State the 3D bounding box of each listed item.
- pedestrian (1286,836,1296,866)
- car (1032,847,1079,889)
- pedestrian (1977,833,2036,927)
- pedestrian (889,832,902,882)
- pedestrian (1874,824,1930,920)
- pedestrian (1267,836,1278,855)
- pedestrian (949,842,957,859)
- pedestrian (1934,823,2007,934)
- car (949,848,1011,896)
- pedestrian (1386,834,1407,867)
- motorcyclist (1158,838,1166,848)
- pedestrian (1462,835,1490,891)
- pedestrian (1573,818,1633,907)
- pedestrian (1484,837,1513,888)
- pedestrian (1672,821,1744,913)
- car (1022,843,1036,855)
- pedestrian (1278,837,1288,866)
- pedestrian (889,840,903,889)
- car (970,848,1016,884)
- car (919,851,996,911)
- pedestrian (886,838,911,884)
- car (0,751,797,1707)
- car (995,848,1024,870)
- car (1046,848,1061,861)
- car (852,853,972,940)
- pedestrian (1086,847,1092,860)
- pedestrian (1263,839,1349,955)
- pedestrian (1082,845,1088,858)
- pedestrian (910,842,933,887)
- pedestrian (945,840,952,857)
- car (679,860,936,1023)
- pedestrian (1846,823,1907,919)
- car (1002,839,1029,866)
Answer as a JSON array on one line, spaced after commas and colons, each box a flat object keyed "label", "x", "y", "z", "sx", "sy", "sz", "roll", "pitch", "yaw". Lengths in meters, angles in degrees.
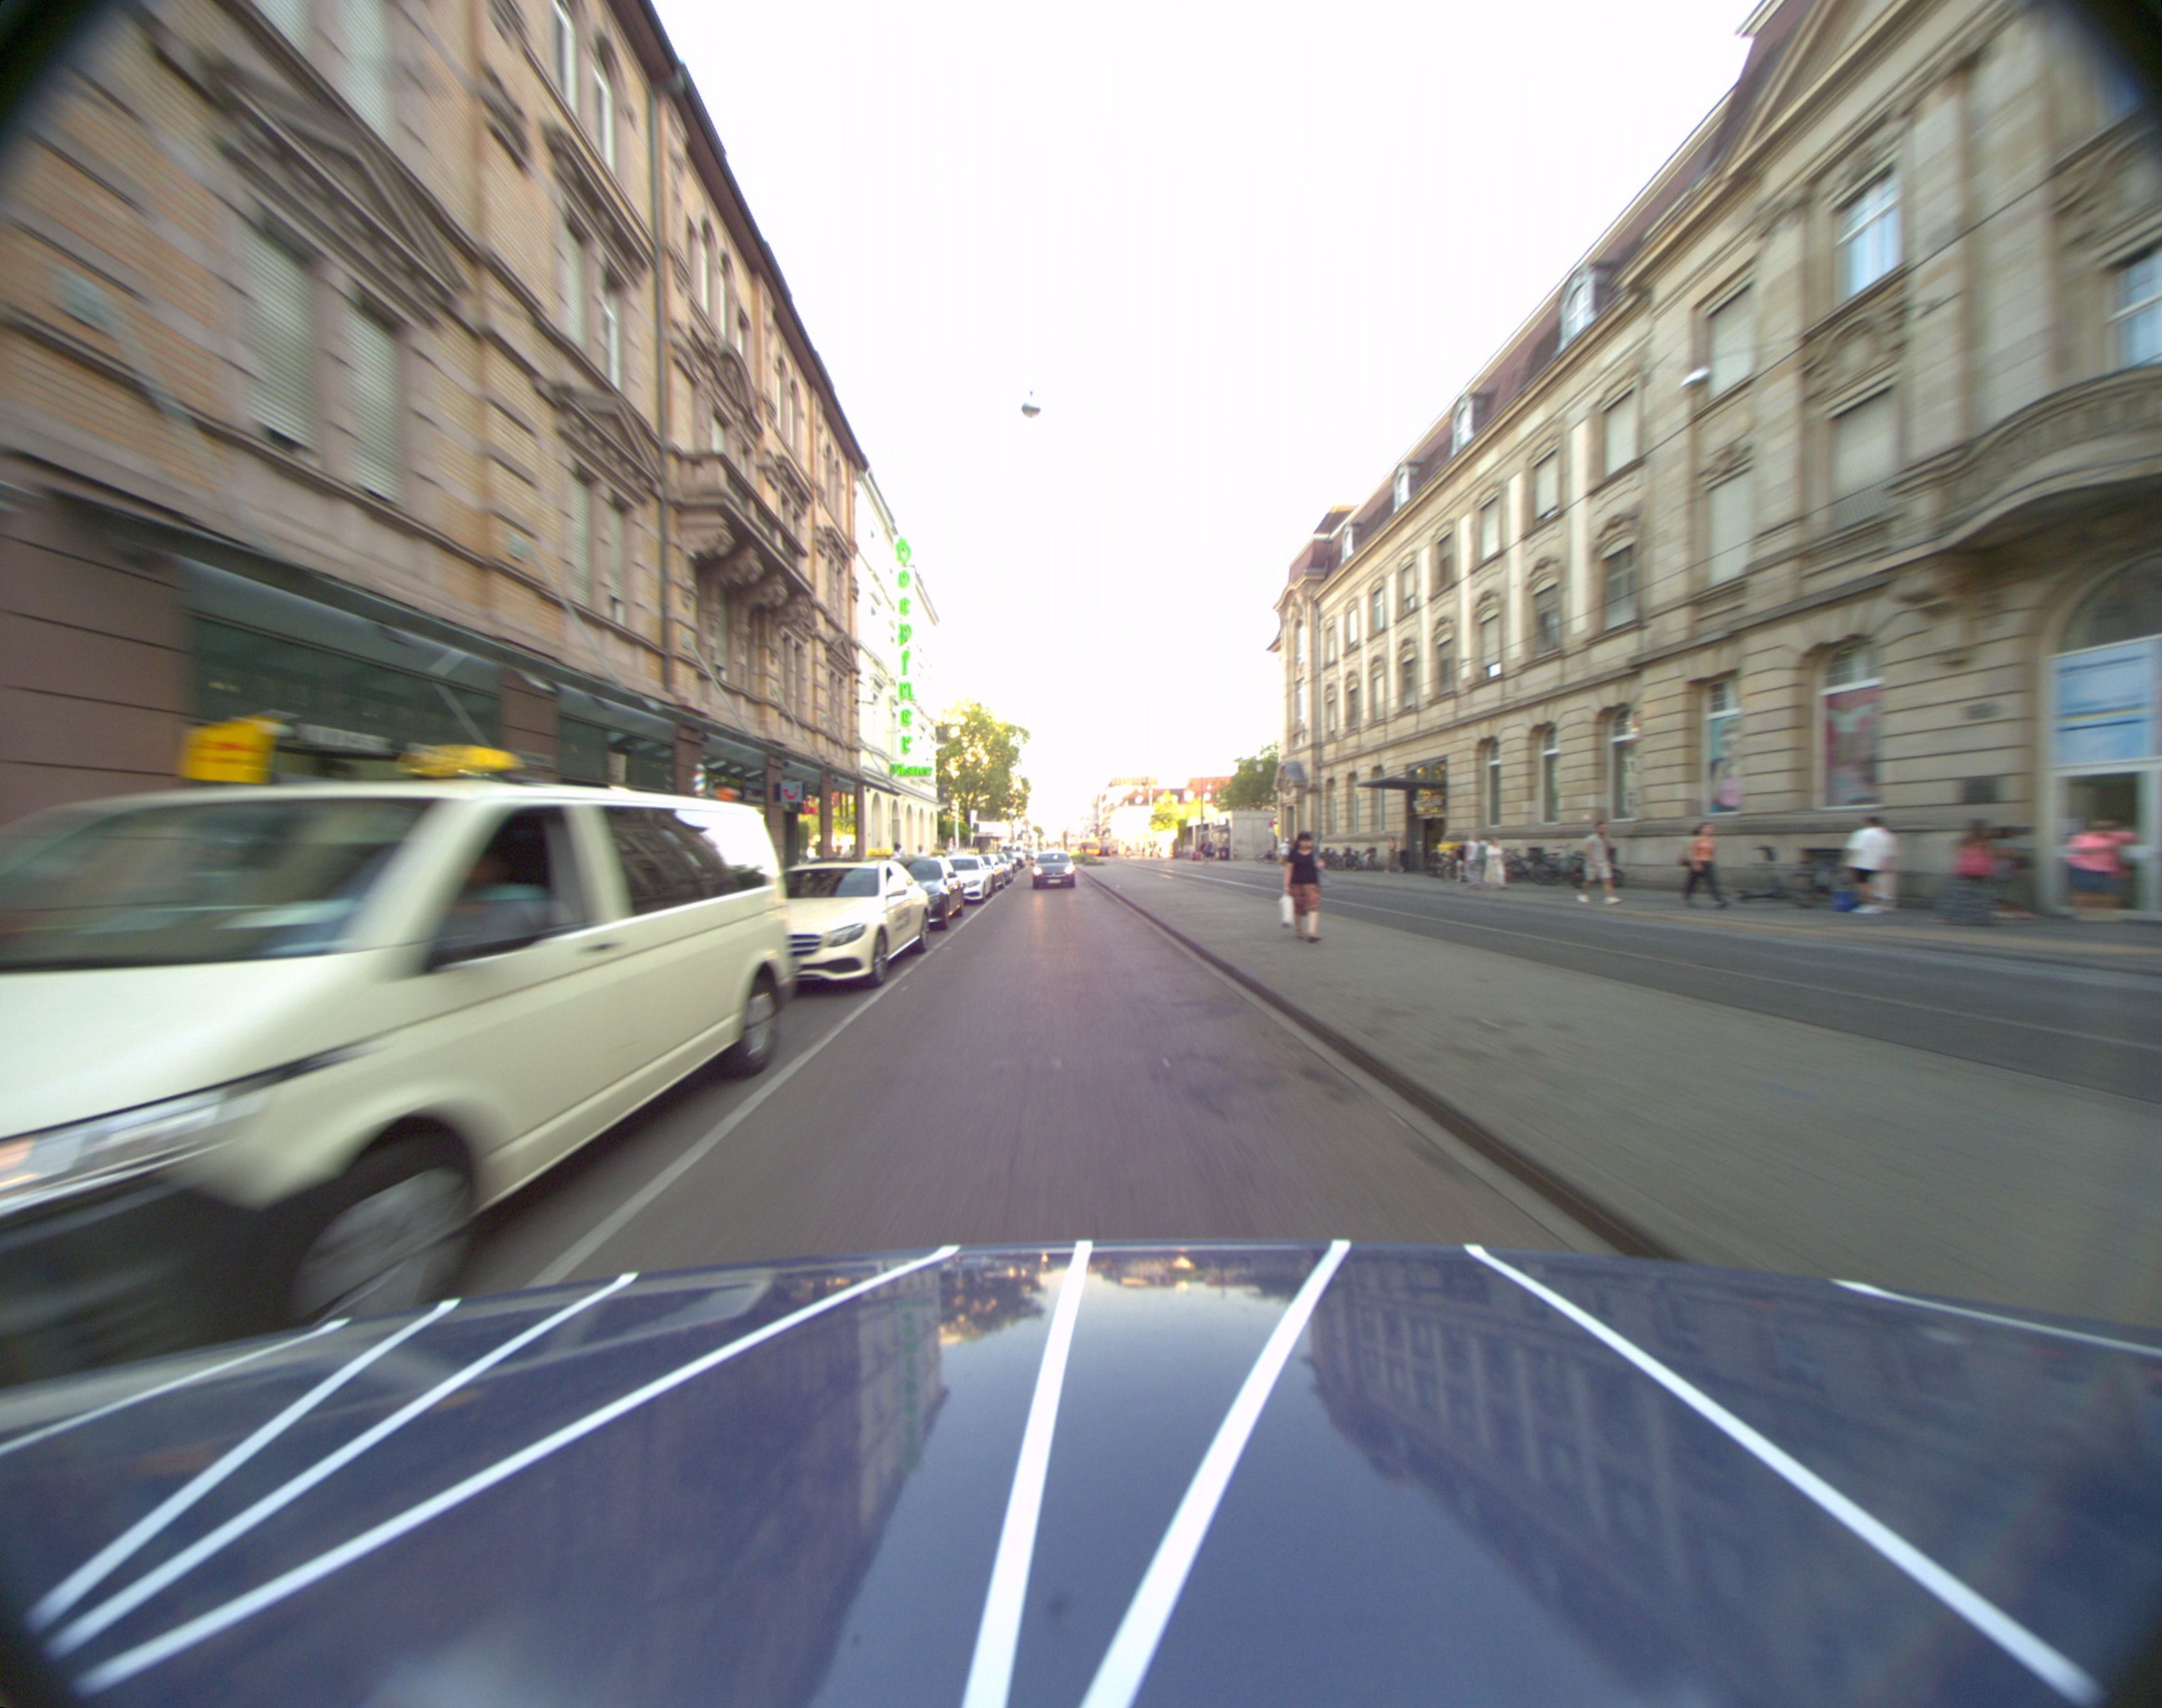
[{"label": "pedestrian", "x": 11.775, "y": -0.164, "z": 42.548, "sx": 0.375, "sy": 1.664, "sz": 0.494, "roll": -1, "pitch": 2, "yaw": 31}, {"label": "car", "x": -1.049, "y": 0.530, "z": 31.222, "sx": 1.739, "sy": 1.495, "sz": 3.998, "roll": -2, "pitch": 2, "yaw": -2}, {"label": "pedestrian", "x": 14.557, "y": 0.394, "z": 11.965, "sx": 0.439, "sy": 1.432, "sz": 0.573, "roll": -1, "pitch": 2, "yaw": 34}, {"label": "pedestrian", "x": -6.601, "y": 0.117, "z": 27.068, "sx": 0.374, "sy": 1.758, "sz": 0.455, "roll": 1, "pitch": 1, "yaw": -6}, {"label": "pedestrian", "x": 14.277, "y": 0.299, "z": 13.226, "sx": 0.335, "sy": 1.633, "sz": 0.606, "roll": -2, "pitch": 2, "yaw": 5}, {"label": "pedestrian", "x": 15.570, "y": -0.679, "z": 61.702, "sx": 0.661, "sy": 1.553, "sz": 0.679, "roll": -1, "pitch": 1, "yaw": -6}, {"label": "pedestrian", "x": -9.721, "y": -0.238, "z": 57.610, "sx": 0.532, "sy": 1.289, "sz": 0.490, "roll": -1, "pitch": 1, "yaw": -2}, {"label": "pedestrian", "x": 13.216, "y": 0.345, "z": 11.300, "sx": 0.441, "sy": 1.596, "sz": 0.571, "roll": -3, "pitch": 2, "yaw": -17}, {"label": "car", "x": -3.880, "y": 0.634, "z": 29.893, "sx": 1.737, "sy": 1.581, "sz": 4.440, "roll": -3, "pitch": 2, "yaw": 1}, {"label": "pedestrian", "x": 14.714, "y": -0.160, "z": 35.460, "sx": 0.737, "sy": 1.524, "sz": 0.778, "roll": -1, "pitch": 1, "yaw": 9}, {"label": "motorcyclist", "x": 11.381, "y": -1.547, "z": 106.948, "sx": 0.801, "sy": 1.431, "sz": 0.798, "roll": -3, "pitch": 2, "yaw": -34}, {"label": "pedestrian", "x": 11.125, "y": 0.244, "z": 21.395, "sx": 0.660, "sy": 1.553, "sz": 0.681, "roll": -1, "pitch": 2, "yaw": 25}, {"label": "pedestrian", "x": 10.882, "y": 0.174, "z": 15.862, "sx": 0.694, "sy": 1.802, "sz": 0.814, "roll": -1, "pitch": 1, "yaw": 1}, {"label": "pedestrian", "x": 12.051, "y": 0.243, "z": 21.905, "sx": 0.692, "sy": 1.458, "sz": 0.557, "roll": 0, "pitch": 2, "yaw": 32}, {"label": "pedestrian", "x": 12.026, "y": 0.232, "z": 14.586, "sx": 0.695, "sy": 1.702, "sz": 0.814, "roll": -2, "pitch": 2, "yaw": -17}, {"label": "car", "x": -7.286, "y": -0.723, "z": 106.224, "sx": 1.771, "sy": 1.565, "sz": 3.998, "roll": 1, "pitch": 1, "yaw": -2}, {"label": "pedestrian", "x": 11.351, "y": -0.152, "z": 42.678, "sx": 0.375, "sy": 1.622, "sz": 0.494, "roll": -1, "pitch": 2, "yaw": 32}, {"label": "pedestrian", "x": -6.726, "y": 0.357, "z": 27.651, "sx": 0.374, "sy": 1.758, "sz": 0.663, "roll": 1, "pitch": 1, "yaw": -6}, {"label": "car", "x": -4.170, "y": 0.528, "z": 36.658, "sx": 1.811, "sy": 1.467, "sz": 4.690, "roll": -2, "pitch": 2, "yaw": -3}, {"label": "car", "x": -3.725, "y": 0.749, "z": 23.763, "sx": 1.737, "sy": 1.502, "sz": 4.862, "roll": -3, "pitch": 2, "yaw": -3}, {"label": "pedestrian", "x": -7.032, "y": 0.264, "z": 29.302, "sx": 0.762, "sy": 1.680, "sz": 0.551, "roll": 3, "pitch": 1, "yaw": -3}, {"label": "car", "x": -3.124, "y": 0.753, "z": 3.575, "sx": 1.882, "sy": 1.912, "sz": 4.697, "roll": -3, "pitch": 2, "yaw": -3}, {"label": "car", "x": -4.932, "y": 0.327, "z": 52.883, "sx": 1.701, "sy": 1.382, "sz": 4.545, "roll": 1, "pitch": 1, "yaw": -3}, {"label": "car", "x": -3.650, "y": 0.034, "z": 99.334, "sx": 1.811, "sy": 1.475, "sz": 4.282, "roll": -3, "pitch": 1, "yaw": -3}, {"label": "car", "x": -3.560, "y": 0.811, "z": 16.856, "sx": 1.731, "sy": 1.468, "sz": 4.818, "roll": -2, "pitch": 2, "yaw": -3}, {"label": "pedestrian", "x": 1.036, "y": -0.064, "z": 94.713, "sx": 0.638, "sy": 1.616, "sz": 0.518, "roll": -2, "pitch": 2, "yaw": -13}, {"label": "pedestrian", "x": 3.038, "y": 0.551, "z": 10.333, "sx": 0.848, "sy": 1.492, "sz": 0.901, "roll": -1, "pitch": 1, "yaw": -3}, {"label": "pedestrian", "x": 0.538, "y": -0.347, "z": 95.292, "sx": 0.638, "sy": 1.616, "sz": 0.518, "roll": -2, "pitch": 2, "yaw": -13}, {"label": "pedestrian", "x": -6.125, "y": 0.416, "z": 29.172, "sx": 0.619, "sy": 1.680, "sz": 0.486, "roll": 4, "pitch": 1, "yaw": 15}, {"label": "pedestrian", "x": -12.200, "y": -0.540, "z": 69.855, "sx": 0.490, "sy": 1.549, "sz": 0.532, "roll": -1, "pitch": 1, "yaw": -2}, {"label": "car", "x": -3.234, "y": 0.911, "z": 10.147, "sx": 1.811, "sy": 1.475, "sz": 4.776, "roll": -3, "pitch": 1, "yaw": -3}, {"label": "pedestrian", "x": 13.790, "y": 0.283, "z": 13.182, "sx": 0.477, "sy": 1.633, "sz": 0.562, "roll": -2, "pitch": 2, "yaw": 3}, {"label": "car", "x": -5.260, "y": -0.149, "z": 61.356, "sx": 1.857, "sy": 2.055, "sz": 5.213, "roll": 0, "pitch": 1, "yaw": -2}]
